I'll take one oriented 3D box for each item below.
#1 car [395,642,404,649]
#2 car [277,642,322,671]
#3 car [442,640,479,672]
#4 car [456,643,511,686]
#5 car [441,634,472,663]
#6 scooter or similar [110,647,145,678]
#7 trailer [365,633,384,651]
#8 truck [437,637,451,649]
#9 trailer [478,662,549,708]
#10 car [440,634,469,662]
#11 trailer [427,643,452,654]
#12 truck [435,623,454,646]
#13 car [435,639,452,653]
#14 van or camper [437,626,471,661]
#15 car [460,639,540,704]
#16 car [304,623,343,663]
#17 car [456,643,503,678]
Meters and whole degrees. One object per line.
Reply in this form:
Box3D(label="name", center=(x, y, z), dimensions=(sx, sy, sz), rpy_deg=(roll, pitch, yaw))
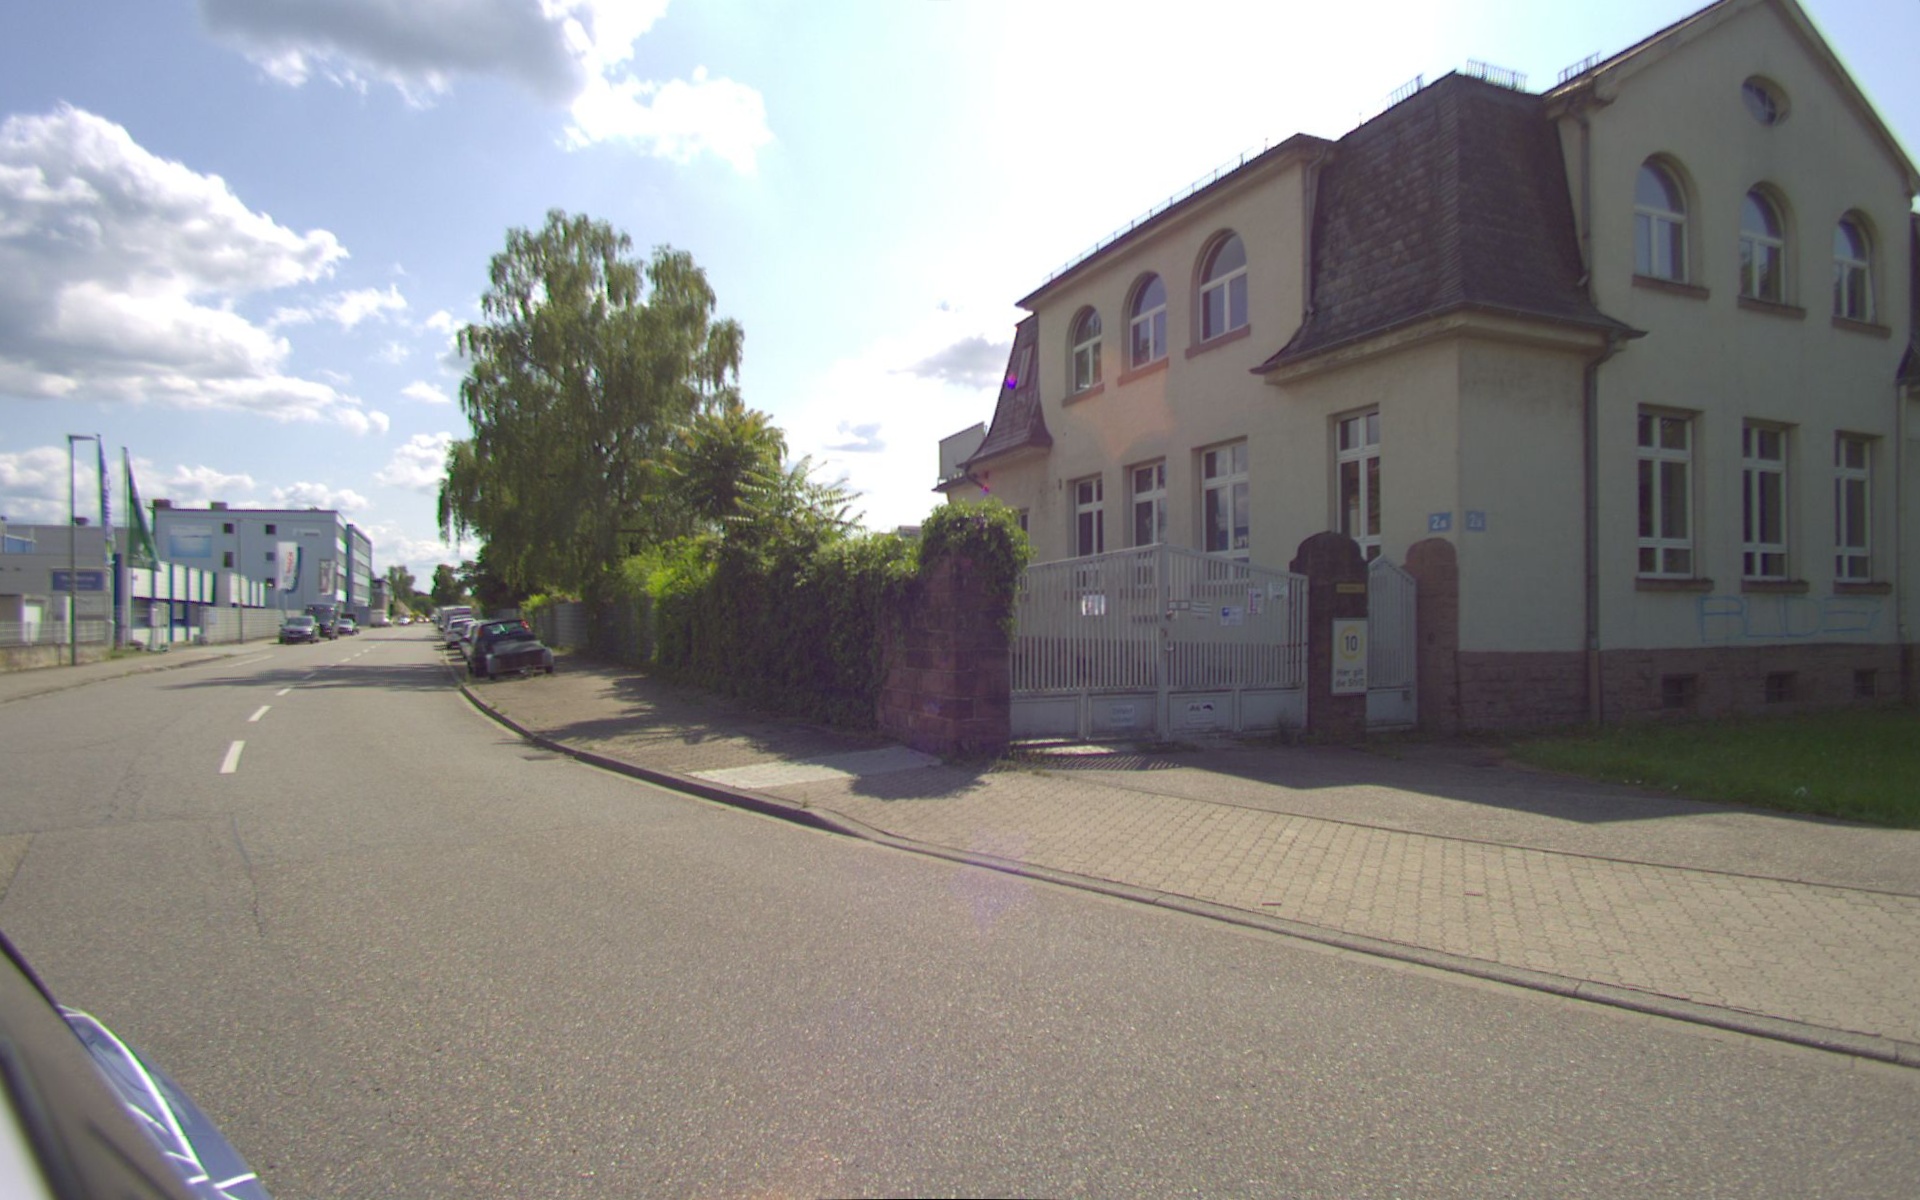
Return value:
Box3D(label="car", center=(-121.278, 9.812, 218.850), dimensions=(1.630, 1.342, 4.012), rpy_deg=(0, -2, -28))
Box3D(label="car", center=(-40.493, 3.441, 62.093), dimensions=(1.799, 1.677, 4.570), rpy_deg=(1, -3, -27))
Box3D(label="car", center=(-26.427, 2.922, 53.510), dimensions=(1.676, 1.607, 4.802), rpy_deg=(1, -2, -27))
Box3D(label="car", center=(-19.574, 2.575, 41.440), dimensions=(1.700, 1.488, 4.645), rpy_deg=(-4, 0, -28))
Box3D(label="car", center=(-38.932, 3.699, 78.145), dimensions=(1.872, 1.969, 4.974), rpy_deg=(-6, 1, -28))
Box3D(label="scooter or similar", center=(-34.545, 2.595, 41.994), dimensions=(1.131, 1.255, 0.259), rpy_deg=(0, -2, -9))
Box3D(label="trailer", center=(-83.342, 5.948, 144.184), dimensions=(1.842, 2.573, 5.088), rpy_deg=(0, -2, -25))
Box3D(label="truck", center=(-101.649, 8.520, 199.395), dimensions=(2.098, 2.256, 7.372), rpy_deg=(-3, -1, -25))
Box3D(label="trailer", center=(-11.215, 2.095, 25.351), dimensions=(1.444, 0.857, 2.475), rpy_deg=(-5, 1, -27))
Box3D(label="car", center=(-36.057, 3.430, 72.288), dimensions=(1.676, 1.815, 3.839), rpy_deg=(-4, 0, -26))
Box3D(label="trailer", center=(-56.997, 5.248, 110.848), dimensions=(2.239, 0.889, 7.155), rpy_deg=(-5, 0, -26))
Box3D(label="truck", center=(-81.222, 5.471, 159.441), dimensions=(2.219, 3.387, 6.928), rpy_deg=(-5, 0, -28))
Box3D(label="car", center=(-60.567, 5.363, 118.583), dimensions=(1.555, 1.524, 4.214), rpy_deg=(0, -2, -29))
Box3D(label="van or camper", center=(-45.016, 3.804, 89.912), dimensions=(2.231, 2.824, 6.854), rpy_deg=(-4, 0, -29))
Box3D(label="car", center=(-12.993, 1.935, 28.460), dimensions=(1.659, 1.523, 4.170), rpy_deg=(-4, 1, -29))
Box3D(label="car", center=(-46.312, 3.153, 73.764), dimensions=(1.910, 2.769, 6.173), rpy_deg=(1, -3, -28))
Box3D(label="car", center=(-22.237, 2.747, 46.724), dimensions=(1.769, 1.539, 4.674), rpy_deg=(1, -2, -28))
